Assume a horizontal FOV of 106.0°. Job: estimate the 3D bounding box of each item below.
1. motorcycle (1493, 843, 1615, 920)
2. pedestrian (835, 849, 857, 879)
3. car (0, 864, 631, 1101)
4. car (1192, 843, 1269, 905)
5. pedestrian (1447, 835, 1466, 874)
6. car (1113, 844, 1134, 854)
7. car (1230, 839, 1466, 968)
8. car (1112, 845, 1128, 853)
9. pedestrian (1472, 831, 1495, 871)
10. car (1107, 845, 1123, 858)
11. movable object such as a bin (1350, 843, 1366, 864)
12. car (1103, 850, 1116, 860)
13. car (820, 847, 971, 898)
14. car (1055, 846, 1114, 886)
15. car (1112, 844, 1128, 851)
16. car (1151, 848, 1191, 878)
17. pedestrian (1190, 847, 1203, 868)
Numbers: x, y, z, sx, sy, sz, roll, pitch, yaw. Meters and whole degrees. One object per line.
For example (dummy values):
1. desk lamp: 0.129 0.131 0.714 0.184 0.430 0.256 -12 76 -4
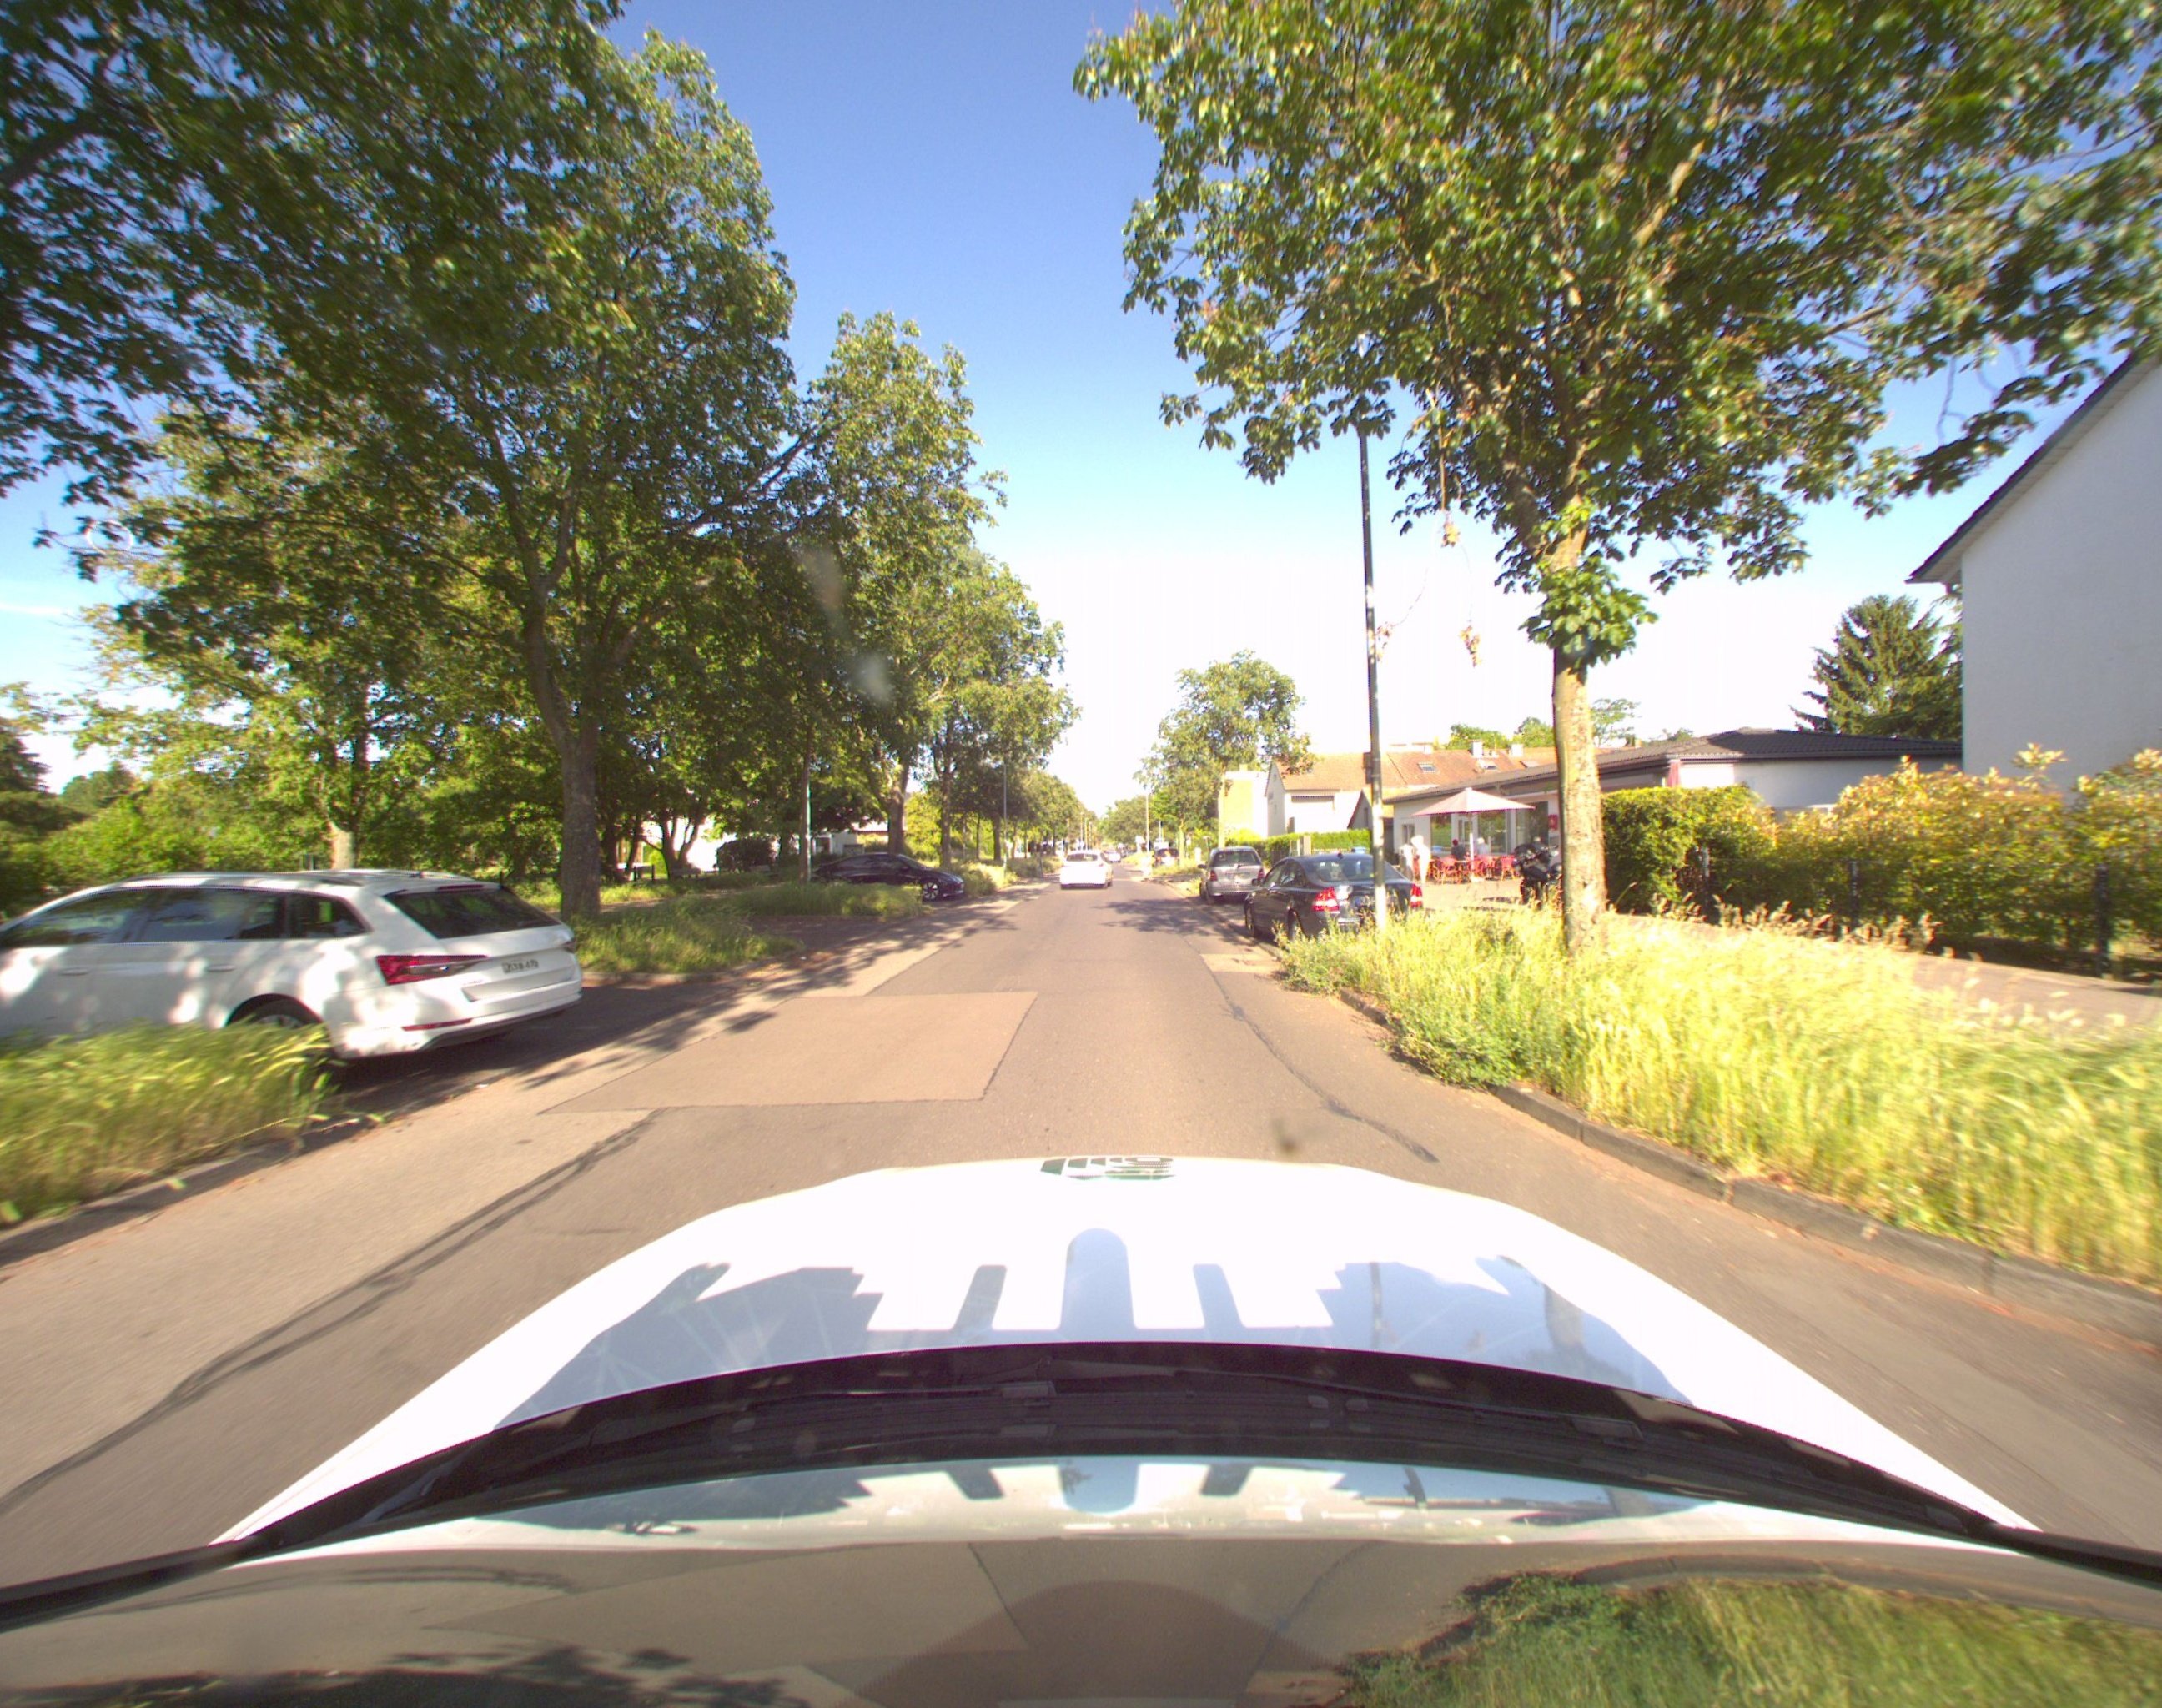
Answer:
1. motorcycle: 8.299 0.430 14.438 0.815 1.227 2.353 -2 1 2
2. pedestrian: -14.494 0.593 50.261 1.227 1.827 1.543 1 0 -15
3. car: -6.432 0.865 6.422 4.651 1.503 2.002 0 1 3
4. car: 4.337 0.527 24.128 1.604 1.622 4.384 2 0 2
5. pedestrian: 13.534 0.030 29.346 0.437 1.384 0.640 1 0 7
6. car: 8.287 -0.984 159.400 3.973 2.014 2.000 0 0 0
7. car: 3.898 0.632 12.815 1.990 1.622 4.376 2 0 -4
8. car: 9.659 -1.239 201.461 3.973 2.013 2.000 -1 0 0
9. pedestrian: 14.483 -0.108 29.308 0.655 1.409 0.496 -3 -1 30
10. car: 4.332 -0.352 103.426 1.986 1.508 3.660 2 0 2
11. movable object such as a bin: 13.925 -0.019 40.926 0.491 1.031 0.747 -4 0 1
12. car: 4.274 0.144 120.372 1.810 1.508 3.660 2 0 2
13. car: -5.856 0.569 26.048 4.352 1.531 1.808 1 0 0
14. car: 0.221 0.432 32.427 1.984 1.455 4.230 -1 1 5
15. car: 10.069 -1.619 211.732 3.975 1.750 1.999 -1 0 -1
16. car: 5.567 0.536 50.975 1.987 1.728 3.999 -3 0 0
17. pedestrian: 11.411 0.336 80.584 1.108 2.013 0.922 -1 0 2
